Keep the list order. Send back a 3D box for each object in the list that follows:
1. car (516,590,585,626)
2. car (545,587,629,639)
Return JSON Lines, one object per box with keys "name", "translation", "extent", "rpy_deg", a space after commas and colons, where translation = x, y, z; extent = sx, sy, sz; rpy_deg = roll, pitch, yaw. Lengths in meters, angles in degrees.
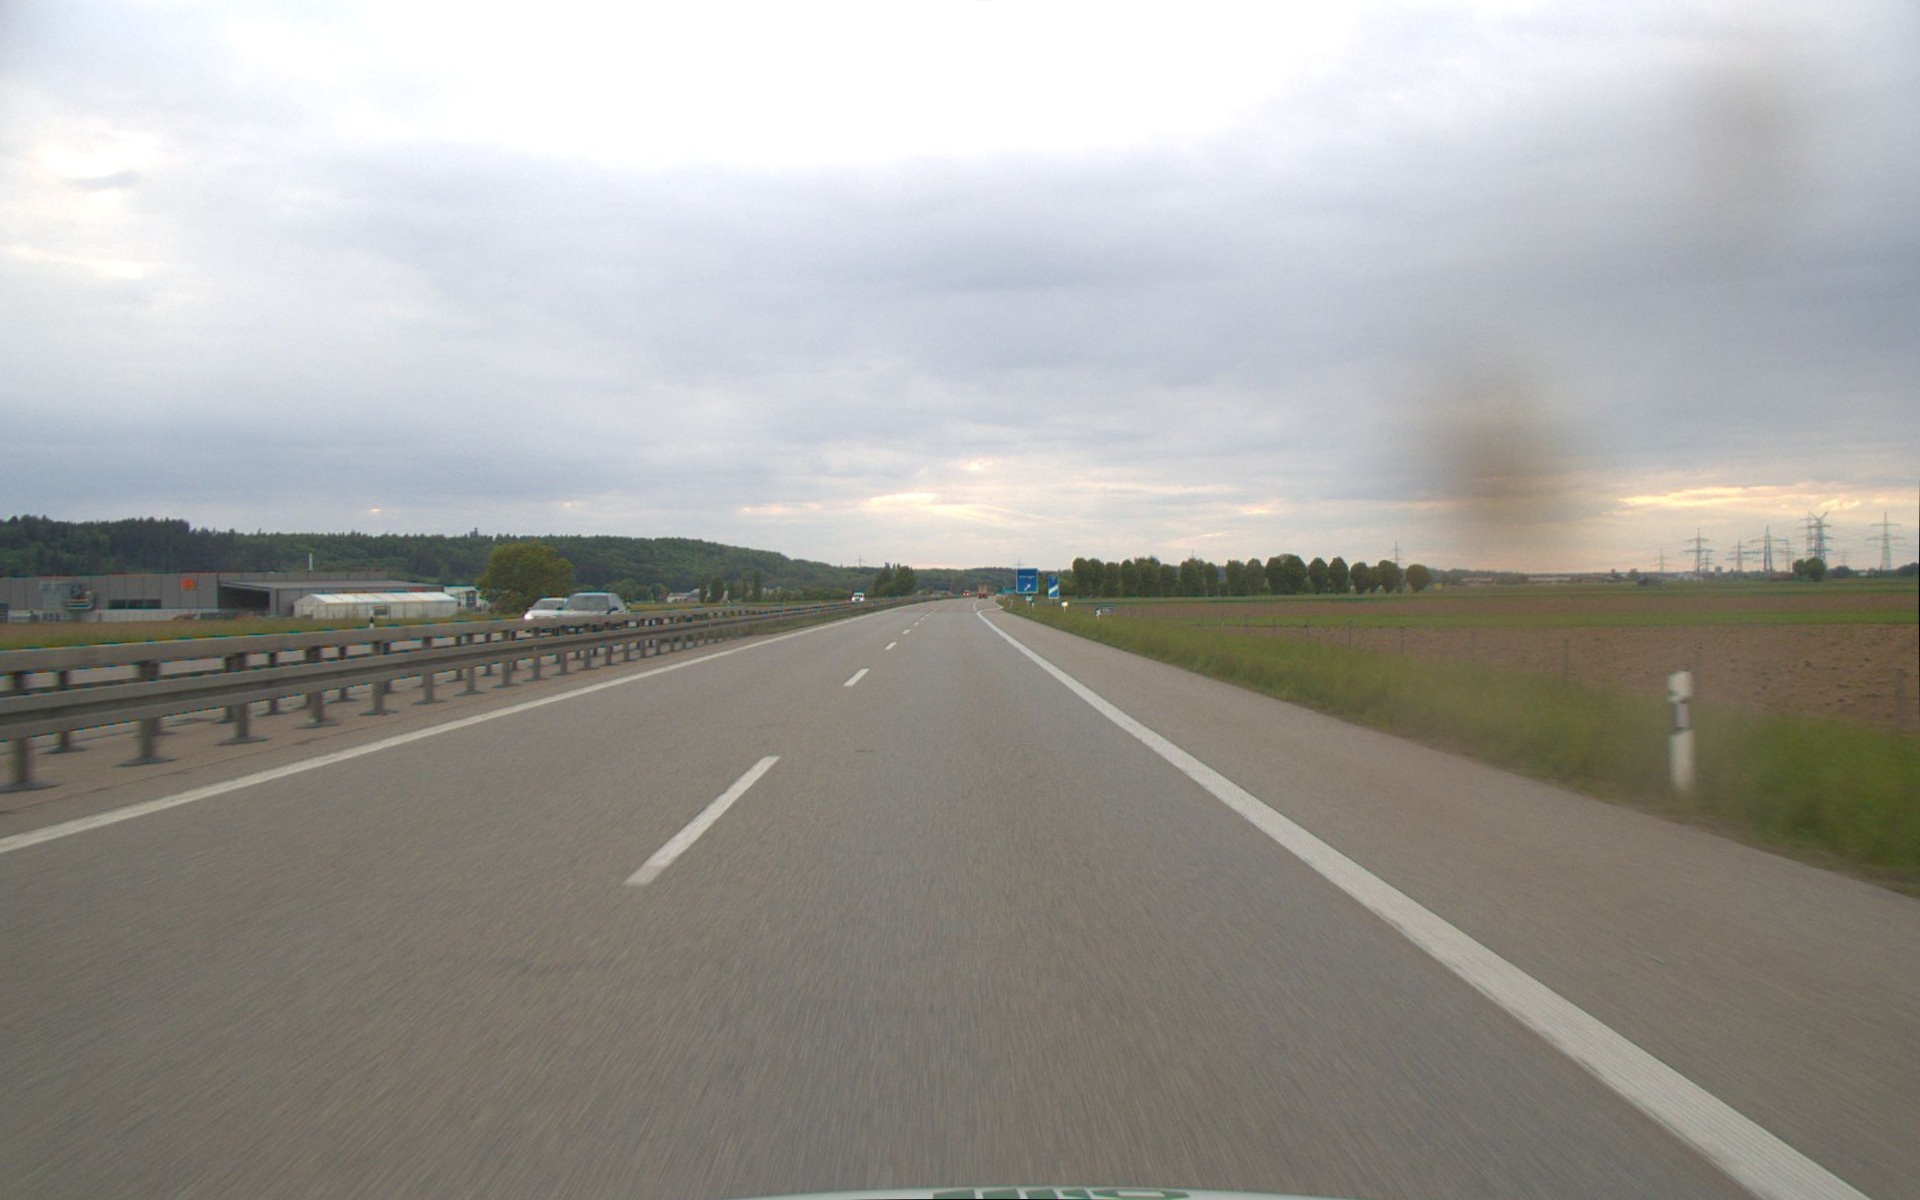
{"name": "car", "translation": [-17.923, 0.319, 72.630], "extent": [1.953, 1.522, 4.761], "rpy_deg": [0, 0, -2]}
{"name": "car", "translation": [-12.960, 0.435, 57.665], "extent": [1.953, 1.730, 4.301], "rpy_deg": [1, 0, -1]}
